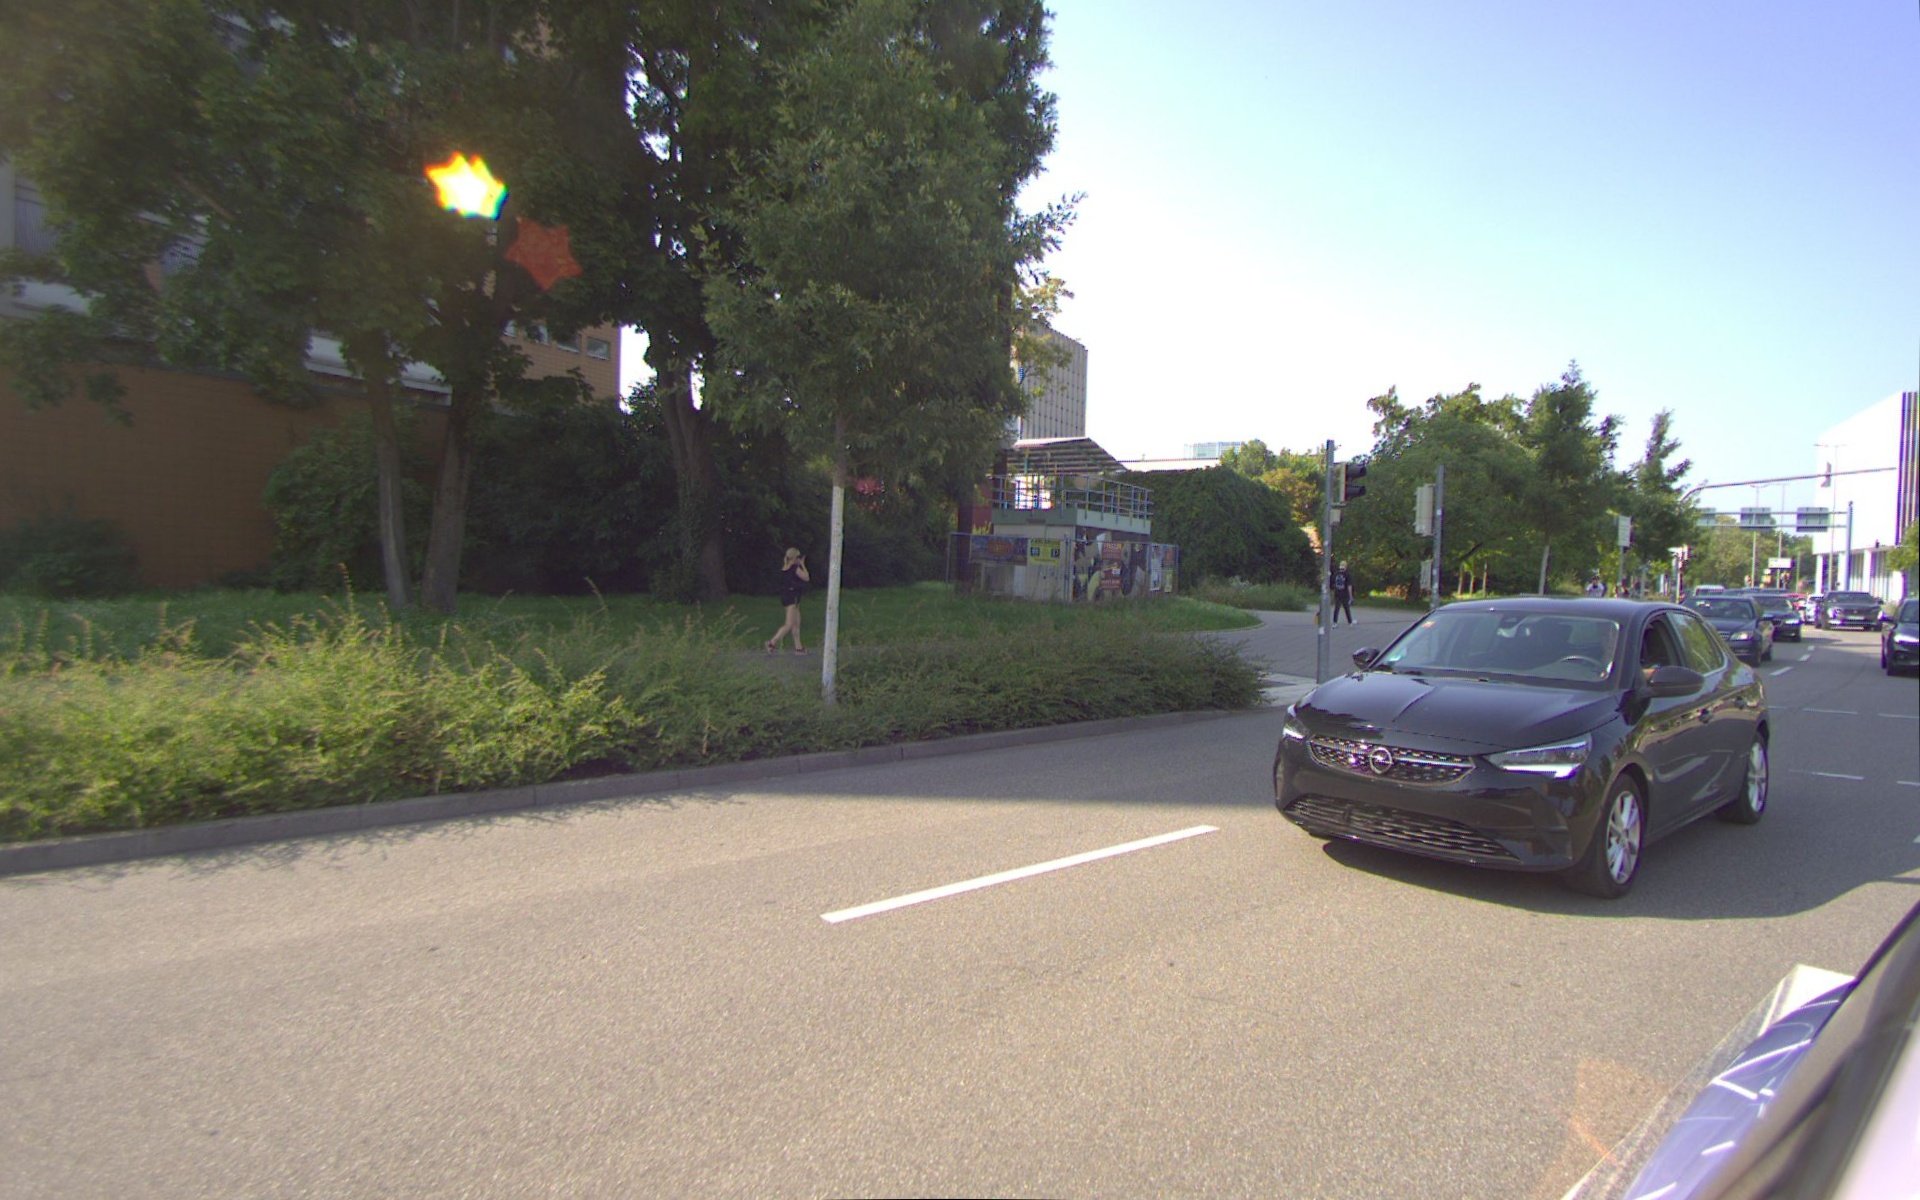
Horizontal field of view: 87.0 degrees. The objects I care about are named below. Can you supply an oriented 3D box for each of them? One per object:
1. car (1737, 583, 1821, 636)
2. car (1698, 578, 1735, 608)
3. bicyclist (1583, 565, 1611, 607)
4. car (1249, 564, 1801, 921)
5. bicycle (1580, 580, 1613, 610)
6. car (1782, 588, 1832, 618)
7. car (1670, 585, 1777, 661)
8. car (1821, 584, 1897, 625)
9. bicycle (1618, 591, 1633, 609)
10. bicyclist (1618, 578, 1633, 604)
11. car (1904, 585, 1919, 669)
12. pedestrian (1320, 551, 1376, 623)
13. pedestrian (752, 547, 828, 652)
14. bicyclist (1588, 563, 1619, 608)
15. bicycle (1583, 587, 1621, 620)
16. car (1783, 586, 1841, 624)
[{"bbox_3d":[25.991,0.253,32.249,1.677,1.510,4.615,3,2,35],"label":"car"},{"bbox_3d":[53.331,-0.516,71.409,1.676,1.965,4.322,3,2,32],"label":"car"},{"bbox_3d":[24.980,-0.561,39.677,0.770,1.612,0.911,2,1,40],"label":"bicyclist"},{"bbox_3d":[3.748,0.581,6.335,4.296,1.510,1.685,0,1,-41],"label":"car"},{"bbox_3d":[24.965,-0.195,39.679,0.770,1.131,2.271,2,2,39],"label":"bicycle"},{"bbox_3d":[47.119,0.125,56.347,1.677,1.510,4.318,3,2,35],"label":"car"},{"bbox_3d":[16.396,0.412,21.730,1.679,1.460,4.313,1,1,38],"label":"car"},{"bbox_3d":[36.048,0.136,40.671,1.677,1.510,4.318,3,2,35],"label":"car"},{"bbox_3d":[43.727,-0.022,66.537,0.768,1.131,2.277,2,2,32],"label":"bicycle"},{"bbox_3d":[43.694,-0.612,66.475,0.768,1.697,0.913,2,1,33],"label":"bicyclist"},{"bbox_3d":[18.790,0.477,18.778,1.832,1.453,4.479,2,2,43],"label":"car"},{"bbox_3d":[10.160,-0.347,26.518,0.986,1.804,0.959,0,4,-45],"label":"pedestrian"},{"bbox_3d":[-2.459,-0.018,14.646,0.841,1.461,0.727,0,2,-34],"label":"pedestrian"},{"bbox_3d":[23.688,-0.554,37.225,0.771,1.612,0.910,3,2,42],"label":"bicyclist"},{"bbox_3d":[23.539,0.114,37.094,0.771,1.131,2.268,3,2,42],"label":"bicycle"},{"bbox_3d":[40.757,0.209,48.511,1.773,1.625,4.364,3,2,36],"label":"car"}]
